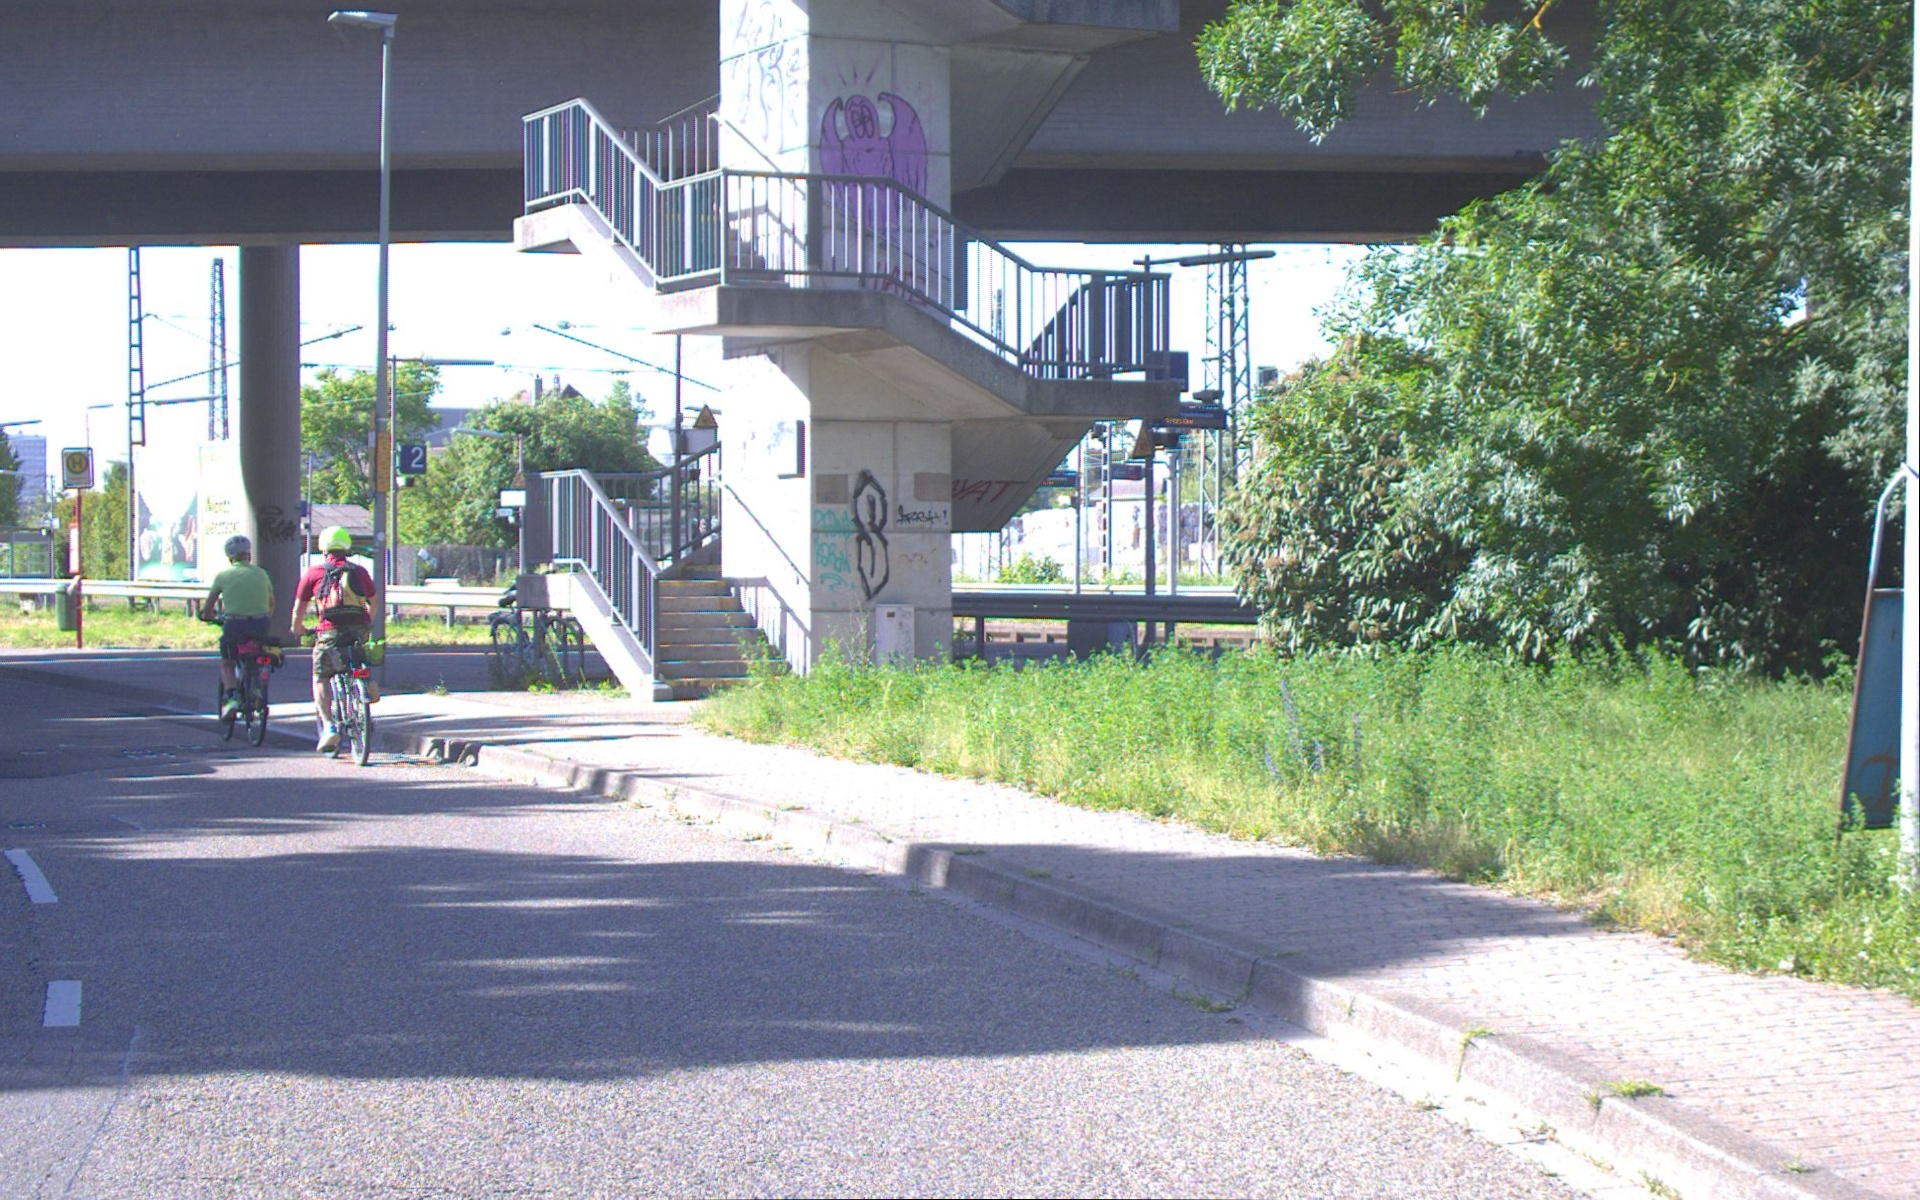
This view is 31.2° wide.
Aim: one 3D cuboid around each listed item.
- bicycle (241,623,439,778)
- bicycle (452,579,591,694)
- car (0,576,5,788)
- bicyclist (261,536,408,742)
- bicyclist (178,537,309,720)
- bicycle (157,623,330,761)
[{"bbox_3d":[-4.598,0.714,25.357,0.840,1.048,2.190,-1,1,-27],"label":"bicycle"},{"bbox_3d":[-4.696,0.374,36.688,0.597,1.178,2.181,-1,1,-32],"label":"bicycle"},{"bbox_3d":[-8.434,0.563,25.788,1.942,1.483,4.566,0,1,-22],"label":"car"},{"bbox_3d":[-4.625,0.272,25.392,0.840,1.483,0.924,-1,1,-26],"label":"bicyclist"},{"bbox_3d":[-5.959,0.222,28.568,0.840,1.483,0.924,-1,1,-27],"label":"bicyclist"},{"bbox_3d":[-5.981,0.743,28.604,0.840,1.048,2.190,-1,1,-27],"label":"bicycle"}]
